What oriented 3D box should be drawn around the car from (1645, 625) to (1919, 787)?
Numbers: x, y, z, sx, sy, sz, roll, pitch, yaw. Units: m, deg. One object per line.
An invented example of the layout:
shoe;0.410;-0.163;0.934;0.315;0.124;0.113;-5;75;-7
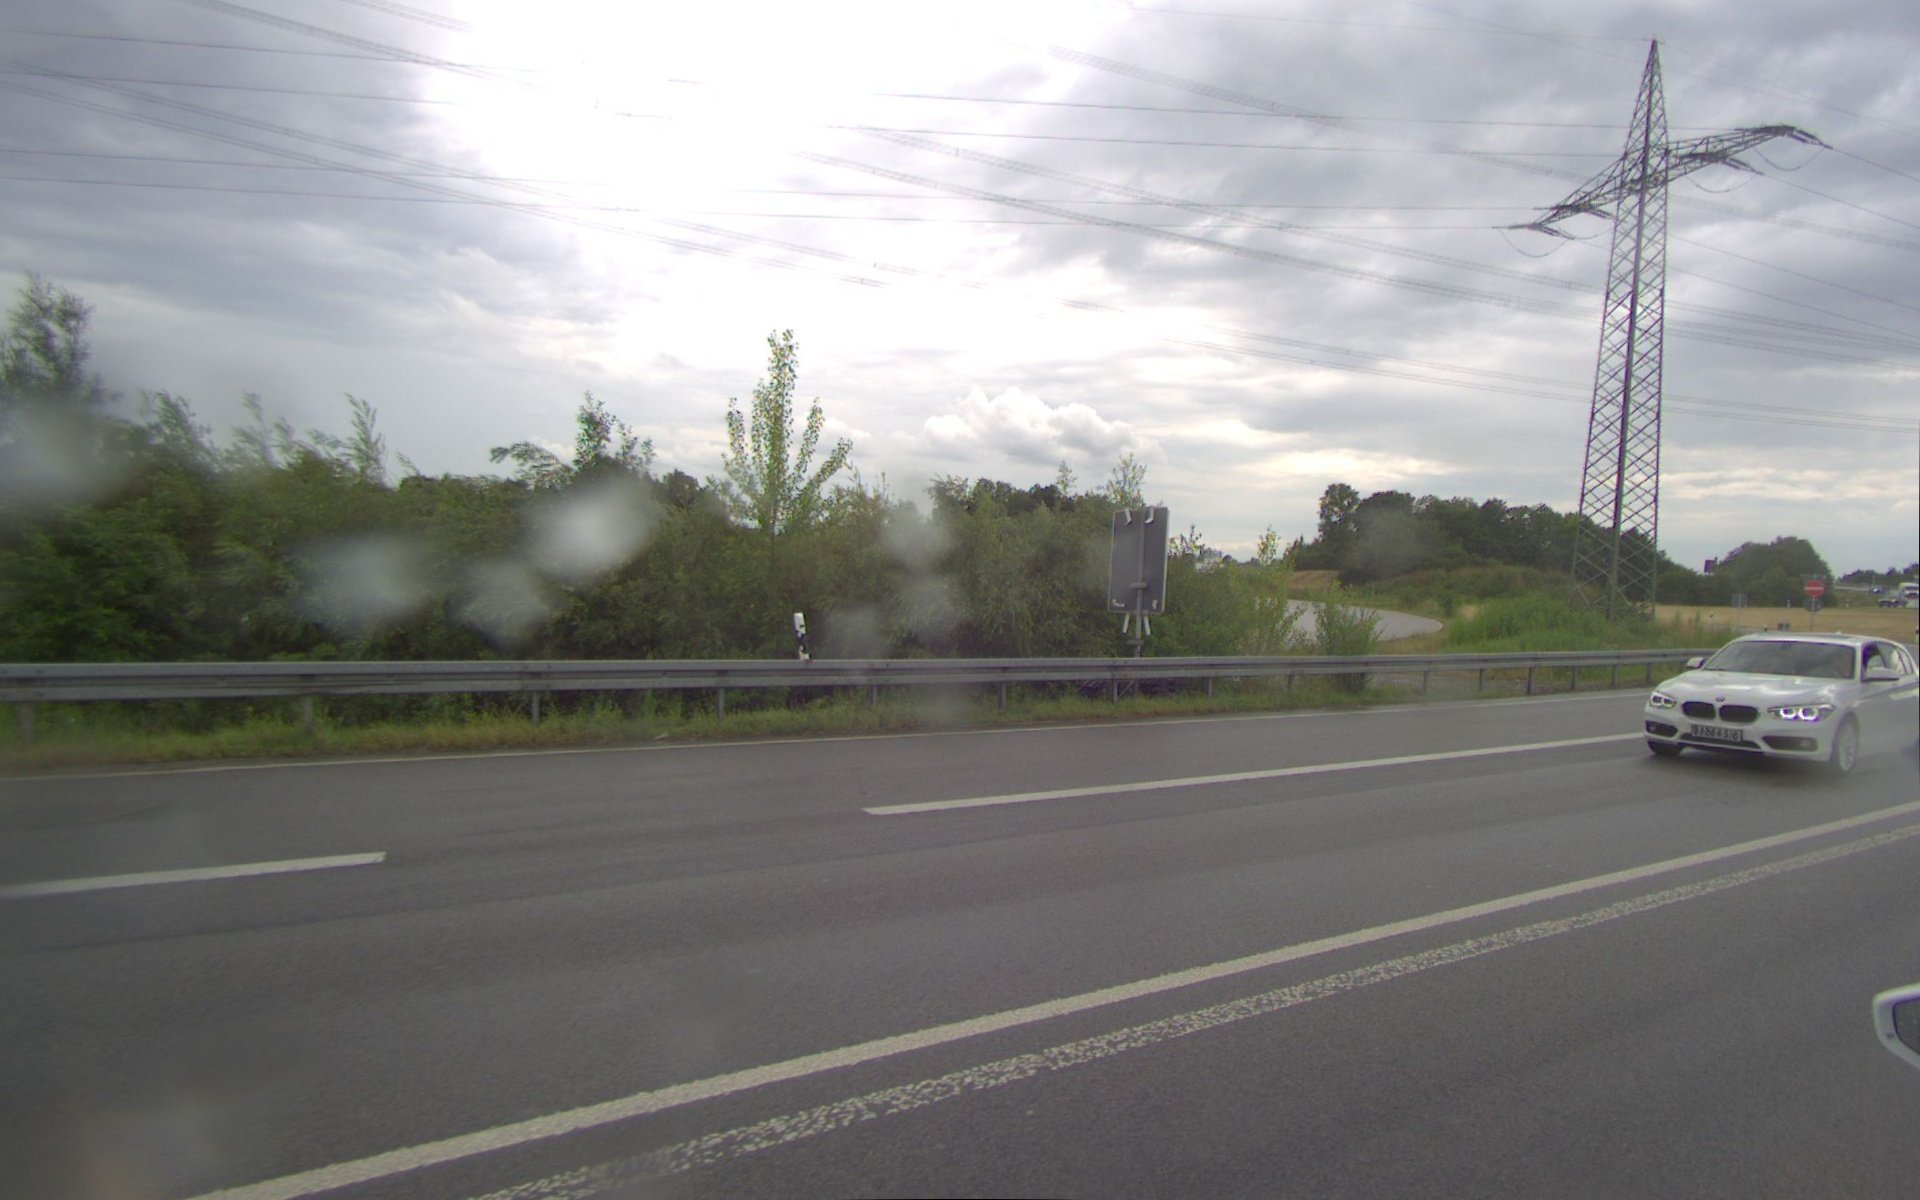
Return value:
car;9.769;1.091;11.604;4.033;1.477;1.669;1;2;-34
